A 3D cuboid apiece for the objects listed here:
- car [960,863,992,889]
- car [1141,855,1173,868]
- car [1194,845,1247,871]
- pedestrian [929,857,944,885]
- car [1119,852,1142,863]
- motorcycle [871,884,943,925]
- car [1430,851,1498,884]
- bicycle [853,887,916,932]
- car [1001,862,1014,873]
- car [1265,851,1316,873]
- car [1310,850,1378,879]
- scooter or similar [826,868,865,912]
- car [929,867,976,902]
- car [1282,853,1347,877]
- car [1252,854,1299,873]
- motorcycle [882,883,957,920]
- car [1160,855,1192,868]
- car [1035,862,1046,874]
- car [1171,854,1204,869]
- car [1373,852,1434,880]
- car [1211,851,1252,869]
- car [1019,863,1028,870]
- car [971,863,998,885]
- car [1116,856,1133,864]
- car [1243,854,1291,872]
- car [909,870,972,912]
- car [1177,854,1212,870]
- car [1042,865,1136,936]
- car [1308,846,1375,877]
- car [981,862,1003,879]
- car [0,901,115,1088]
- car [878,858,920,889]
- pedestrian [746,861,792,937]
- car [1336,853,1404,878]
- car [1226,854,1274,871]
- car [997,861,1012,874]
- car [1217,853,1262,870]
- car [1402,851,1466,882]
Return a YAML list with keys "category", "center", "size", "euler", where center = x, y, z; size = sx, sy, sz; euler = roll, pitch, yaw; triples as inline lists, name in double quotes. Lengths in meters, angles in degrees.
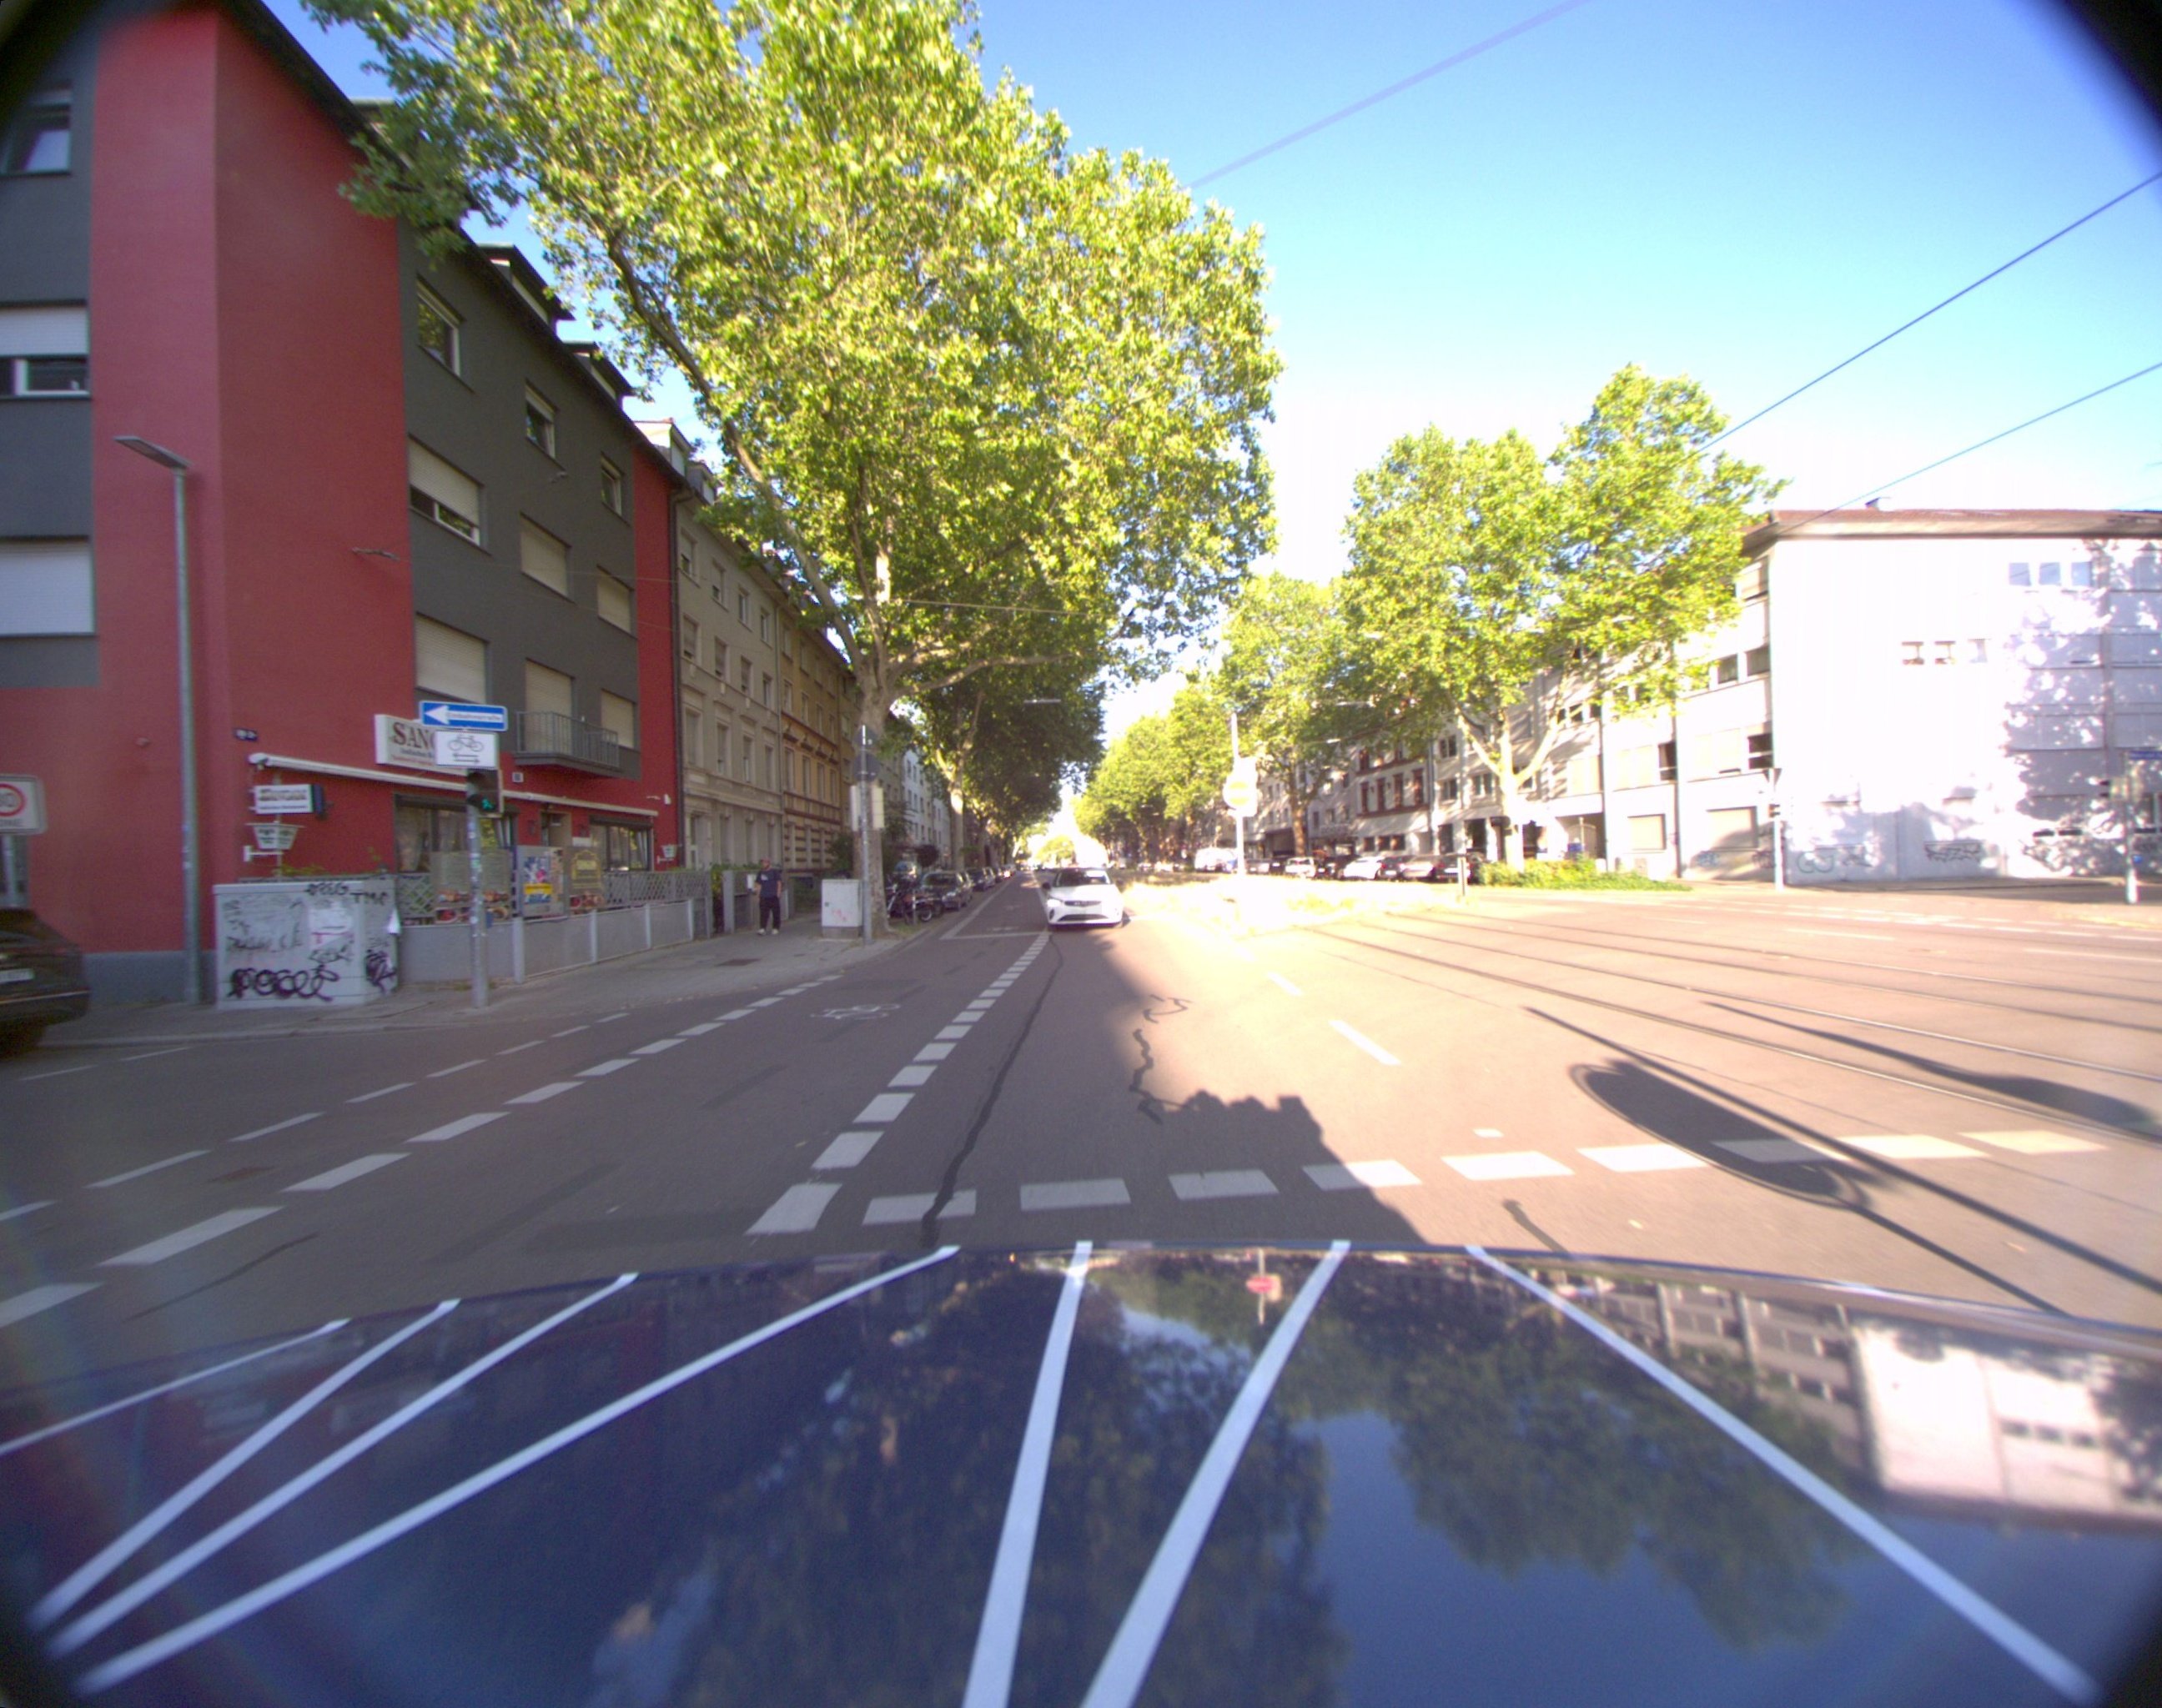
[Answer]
- category: "car"
  center: [-6.872, 1.422, 50.176]
  size: [1.803, 1.599, 4.368]
  euler: [0, 0, -4]
- category: "car"
  center: [11.083, 1.110, 110.646]
  size: [4.236, 1.696, 1.999]
  euler: [-2, 0, -7]
- category: "car"
  center: [15.540, 0.405, 84.628]
  size: [5.620, 2.684, 2.175]
  euler: [-2, 0, -28]
- category: "pedestrian"
  center: [-8.351, 0.966, 43.917]
  size: [0.728, 1.571, 0.701]
  euler: [-2, 1, -3]
- category: "car"
  center: [10.246, 0.684, 156.858]
  size: [2.096, 2.200, 4.952]
  euler: [-2, 0, 44]
- category: "motorcycle"
  center: [-4.966, 1.421, 21.787]
  size: [0.783, 1.104, 1.895]
  euler: [-2, -2, 44]
- category: "car"
  center: [18.352, 0.645, 36.361]
  size: [1.768, 1.423, 3.979]
  euler: [-2, 0, 44]
- category: "bicycle"
  center: [-5.168, 1.434, 20.088]
  size: [0.620, 1.104, 1.804]
  euler: [-1, -2, 24]
- category: "car"
  center: [-10.855, 1.926, 112.300]
  size: [1.803, 1.599, 4.103]
  euler: [0, 0, -4]
- category: "car"
  center: [16.906, 0.630, 61.251]
  size: [4.266, 1.604, 1.902]
  euler: [-2, 0, -43]
- category: "car"
  center: [16.893, 0.646, 48.783]
  size: [4.265, 1.674, 2.147]
  euler: [-2, 0, -38]
- category: "scooter or similar"
  center: [-8.482, 1.257, 27.463]
  size: [0.666, 1.461, 2.544]
  euler: [-2, 0, -3]
- category: "car"
  center: [-5.890, 1.374, 35.346]
  size: [1.803, 1.446, 4.510]
  euler: [0, 0, -5]
- category: "car"
  center: [16.497, 0.767, 53.683]
  size: [4.261, 1.548, 1.641]
  euler: [-2, 0, -19]
- category: "car"
  center: [16.617, 0.832, 64.750]
  size: [4.265, 1.451, 1.598]
  euler: [-2, 0, -39]
- category: "motorcycle"
  center: [-5.067, 1.467, 23.917]
  size: [2.217, 1.104, 0.663]
  euler: [1, -2, -30]
- category: "car"
  center: [13.515, 1.124, 108.147]
  size: [4.006, 1.696, 1.995]
  euler: [-2, 0, -30]
- category: "car"
  center: [-8.010, 2.742, 149.544]
  size: [1.999, 2.002, 3.998]
  euler: [-4, 0, -4]
- category: "car"
  center: [14.020, 1.032, 99.994]
  size: [4.006, 1.805, 1.995]
  euler: [-2, 0, -30]
- category: "car"
  center: [18.354, 0.664, 43.139]
  size: [1.827, 1.495, 3.979]
  euler: [-2, 0, 44]
- category: "car"
  center: [16.218, 0.695, 81.925]
  size: [4.006, 1.805, 1.995]
  euler: [-2, 0, -30]
- category: "car"
  center: [-16.899, 3.653, 223.069]
  size: [1.998, 1.850, 4.000]
  euler: [-4, 0, 2]
- category: "car"
  center: [-7.291, 1.509, 57.764]
  size: [1.803, 1.599, 4.368]
  euler: [0, 0, -4]
- category: "car"
  center: [10.306, 1.339, 180.359]
  size: [3.995, 1.802, 1.874]
  euler: [-2, 0, 6]
- category: "car"
  center: [16.678, 0.810, 68.065]
  size: [4.265, 1.449, 1.902]
  euler: [-2, 0, -39]
- category: "car"
  center: [-5.310, 1.360, 29.207]
  size: [1.803, 1.393, 4.369]
  euler: [0, 0, -3]
- category: "car"
  center: [14.407, 1.002, 96.741]
  size: [4.006, 1.805, 1.995]
  euler: [-2, 0, -30]
- category: "car"
  center: [0.066, 1.020, 18.239]
  size: [1.866, 1.394, 3.930]
  euler: [-3, 0, -4]
- category: "car"
  center: [17.916, 0.492, 52.230]
  size: [4.261, 1.932, 1.514]
  euler: [-2, 0, -19]
- category: "car"
  center: [-8.278, 1.547, 71.122]
  size: [1.803, 1.493, 4.368]
  euler: [0, 0, -4]
- category: "car"
  center: [-12.195, 1.390, 6.870]
  size: [4.353, 1.676, 1.772]
  euler: [-2, 0, -4]
- category: "car"
  center: [-11.818, 1.232, 49.590]
  size: [1.934, 1.864, 4.676]
  euler: [0, 0, -4]
- category: "pedestrian"
  center: [-7.141, 1.010, 17.432]
  size: [0.728, 1.701, 0.815]
  euler: [1, 1, -3]
- category: "car"
  center: [17.317, 0.689, 45.406]
  size: [4.266, 1.369, 2.147]
  euler: [-2, 0, -44]
- category: "car"
  center: [16.042, 0.825, 72.199]
  size: [4.004, 1.509, 1.996]
  euler: [-2, 0, -24]
- category: "car"
  center: [-10.008, 1.763, 99.379]
  size: [1.803, 1.599, 4.103]
  euler: [0, 0, -4]
- category: "car"
  center: [15.749, 0.747, 75.314]
  size: [4.006, 1.608, 1.995]
  euler: [-2, 0, -30]
- category: "car"
  center: [18.457, 0.627, 39.663]
  size: [1.738, 1.423, 3.979]
  euler: [-4, -1, 44]
